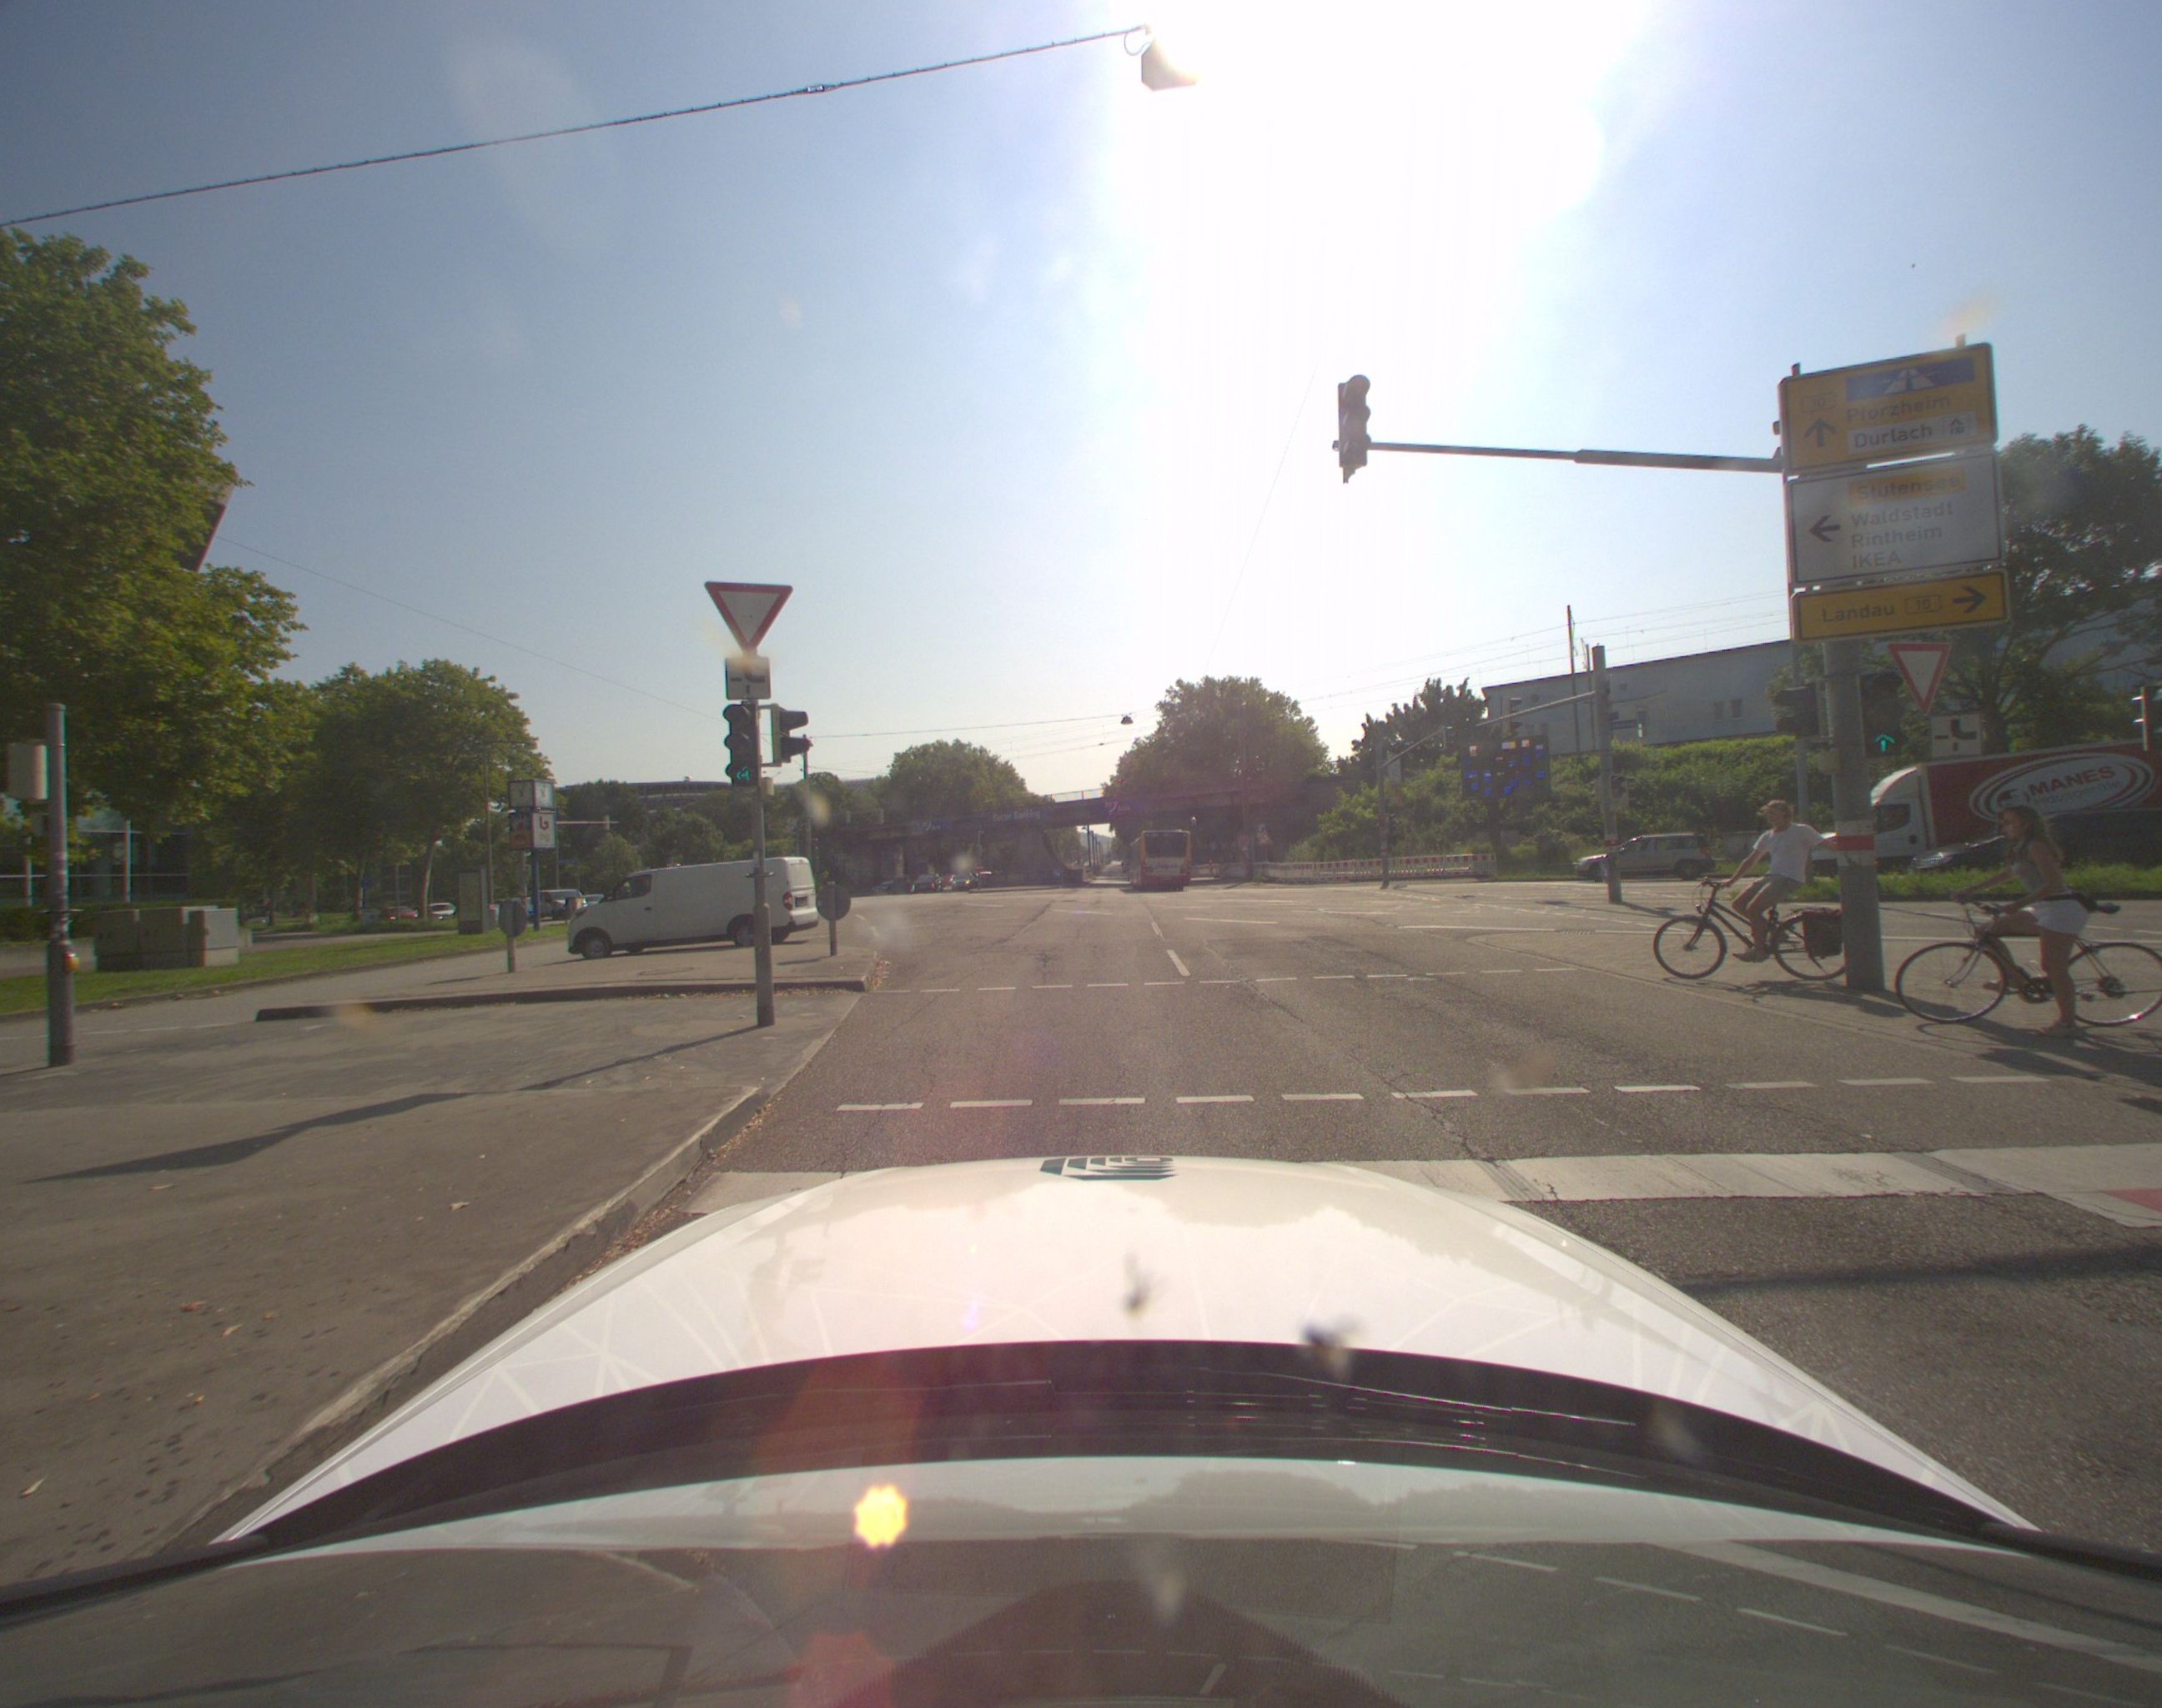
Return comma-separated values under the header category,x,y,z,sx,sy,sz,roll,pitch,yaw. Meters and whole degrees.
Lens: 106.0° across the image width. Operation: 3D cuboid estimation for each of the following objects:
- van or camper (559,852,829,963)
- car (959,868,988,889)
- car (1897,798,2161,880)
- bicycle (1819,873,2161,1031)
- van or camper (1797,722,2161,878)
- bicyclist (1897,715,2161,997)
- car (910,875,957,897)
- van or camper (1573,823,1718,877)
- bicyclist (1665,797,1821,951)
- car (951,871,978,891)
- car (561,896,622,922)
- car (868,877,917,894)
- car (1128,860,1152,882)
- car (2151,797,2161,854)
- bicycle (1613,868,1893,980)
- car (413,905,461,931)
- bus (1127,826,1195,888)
category,x,y,z,sx,sy,sz,roll,pitch,yaw
van or camper,-8.395,1.125,17.965,4.914,1.947,1.847,-4,1,1
car,-9.581,2.178,72.822,1.988,1.573,4.345,-2,1,-1
car,21.020,-0.268,17.211,5.129,1.613,1.918,-1,-1,39
bicycle,7.342,0.729,6.320,2.236,1.087,0.777,-2,-1,20
van or camper,22.168,-1.112,19.983,6.762,3.362,2.263,-1,-1,39
bicyclist,7.284,0.023,6.299,1.191,2.014,0.601,-1,-1,21
car,-12.446,2.670,68.996,1.886,1.617,4.495,-5,-1,17
van or camper,20.070,-0.094,29.032,4.120,1.776,1.863,-1,-1,38
bicyclist,7.227,0.221,8.957,1.190,1.594,0.601,-1,-1,25
car,-9.693,2.247,67.959,1.716,1.538,3.693,-4,-1,-1
car,-33.344,3.753,55.461,4.546,1.443,1.853,-4,0,36
car,-17.116,2.869,73.956,1.764,1.428,4.023,-2,-1,45
car,5.566,1.560,77.062,1.987,2.014,3.998,-1,-1,-1
car,31.311,-0.828,20.616,4.704,1.538,2.101,-1,-1,39
bicycle,7.212,0.758,8.909,2.192,1.087,0.777,-3,-1,25
car,-44.538,4.438,56.277,3.682,1.535,1.684,-5,0,38
bus,4.363,0.248,47.034,3.122,3.113,12.295,-1,-1,2
